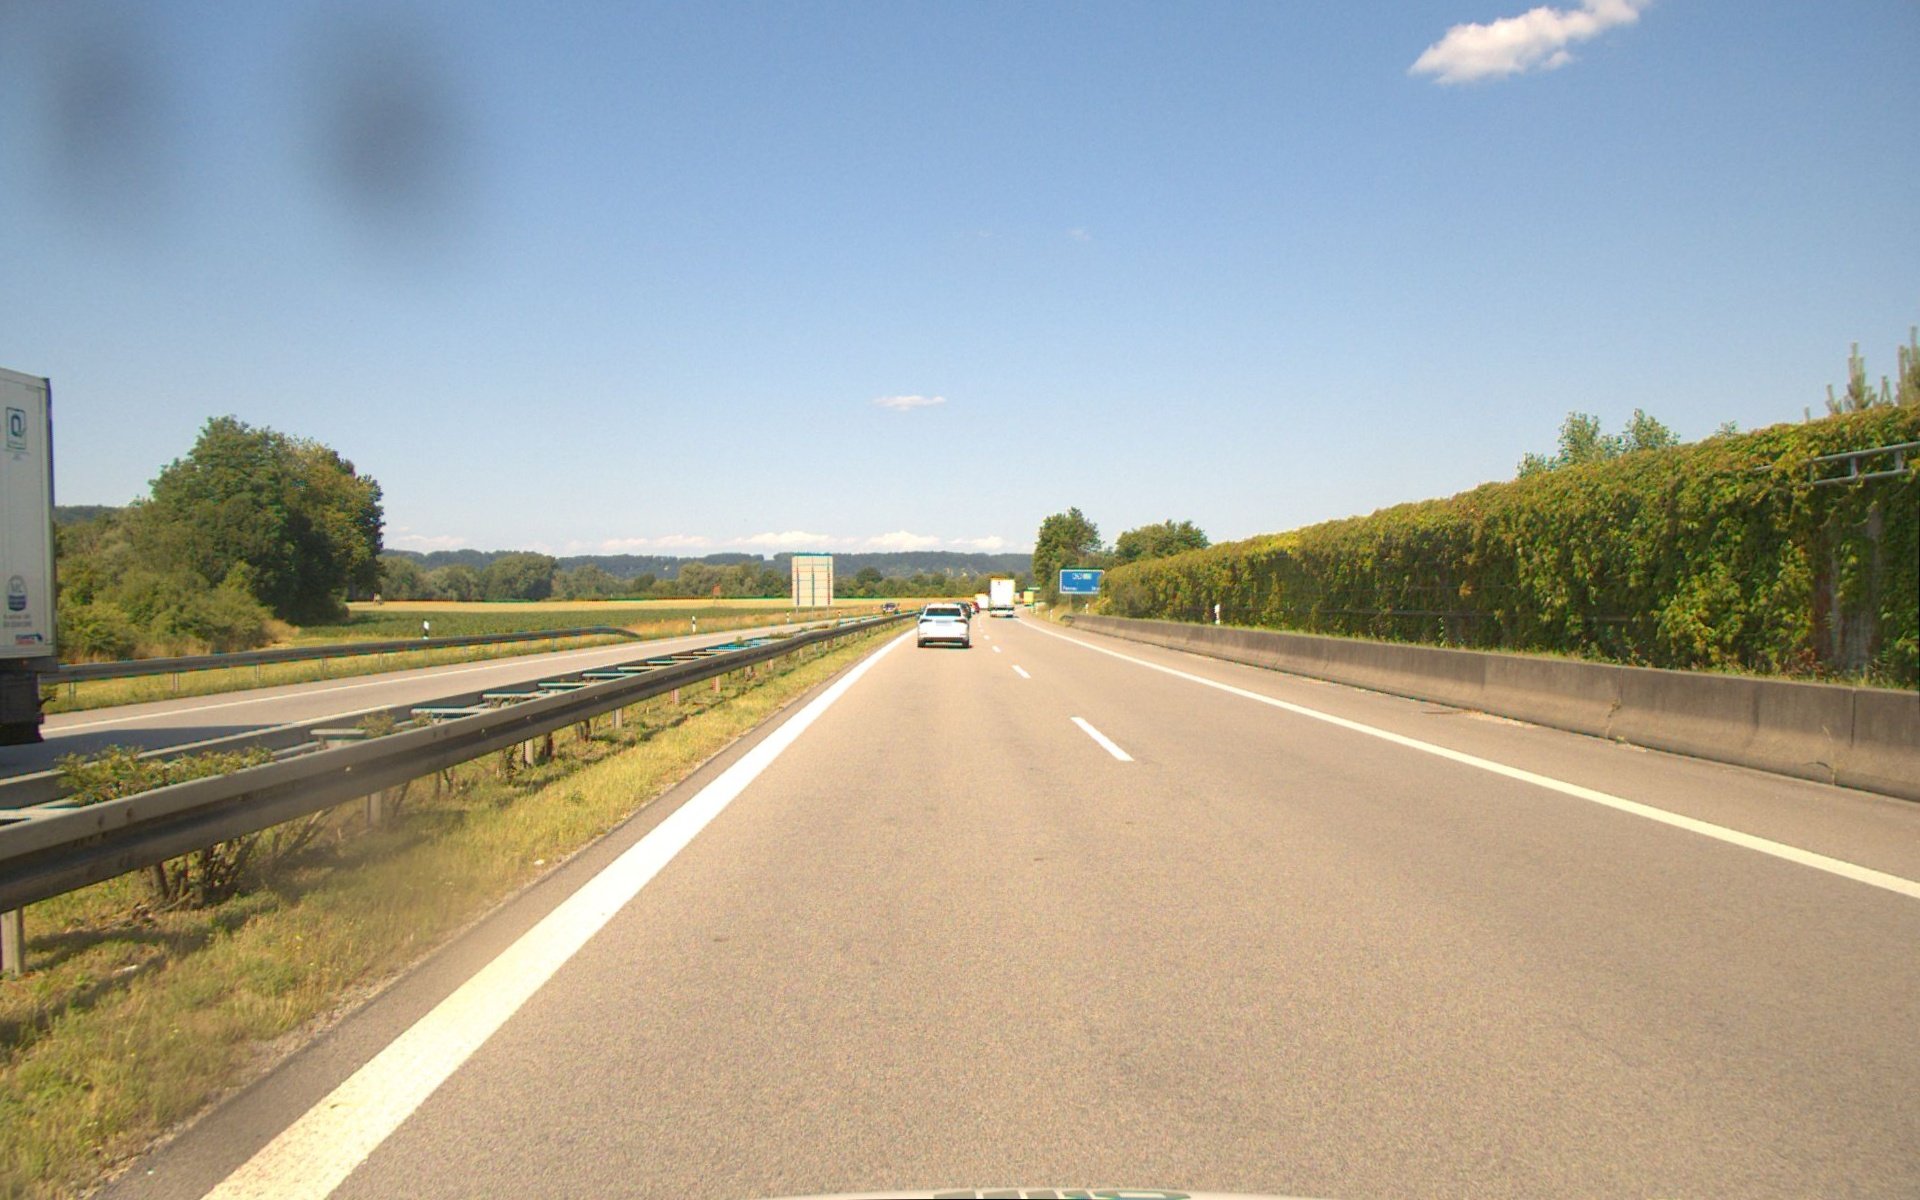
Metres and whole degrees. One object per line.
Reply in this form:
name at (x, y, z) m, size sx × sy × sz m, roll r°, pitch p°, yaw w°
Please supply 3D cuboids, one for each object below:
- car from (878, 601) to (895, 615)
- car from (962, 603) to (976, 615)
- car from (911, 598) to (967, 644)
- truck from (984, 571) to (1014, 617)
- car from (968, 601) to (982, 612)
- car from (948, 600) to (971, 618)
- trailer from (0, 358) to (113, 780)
car at (-9.784, 1.116, 221.806) m, size 1.953 × 1.690 × 4.775 m, roll -3°, pitch 0°, yaw 0°
car at (1.187, 1.125, 213.341) m, size 1.734 × 1.446 × 4.366 m, roll 0°, pitch 0°, yaw 2°
car at (-0.696, 0.694, 56.539) m, size 1.802 × 1.446 × 5.254 m, roll 0°, pitch 0°, yaw 0°
truck at (4.162, -0.653, 176.719) m, size 3.087 × 4.693 × 8.906 m, roll -1°, pitch 0°, yaw 1°
car at (2.128, 0.866, 231.898) m, size 1.734 × 1.446 × 4.366 m, roll 0°, pitch 0°, yaw 3°
car at (-0.055, 0.764, 136.814) m, size 1.734 × 1.446 × 4.496 m, roll 0°, pitch 0°, yaw 2°
trailer at (-11.005, -0.234, 11.721) m, size 3.087 × 4.196 × 13.439 m, roll -3°, pitch 0°, yaw -1°
